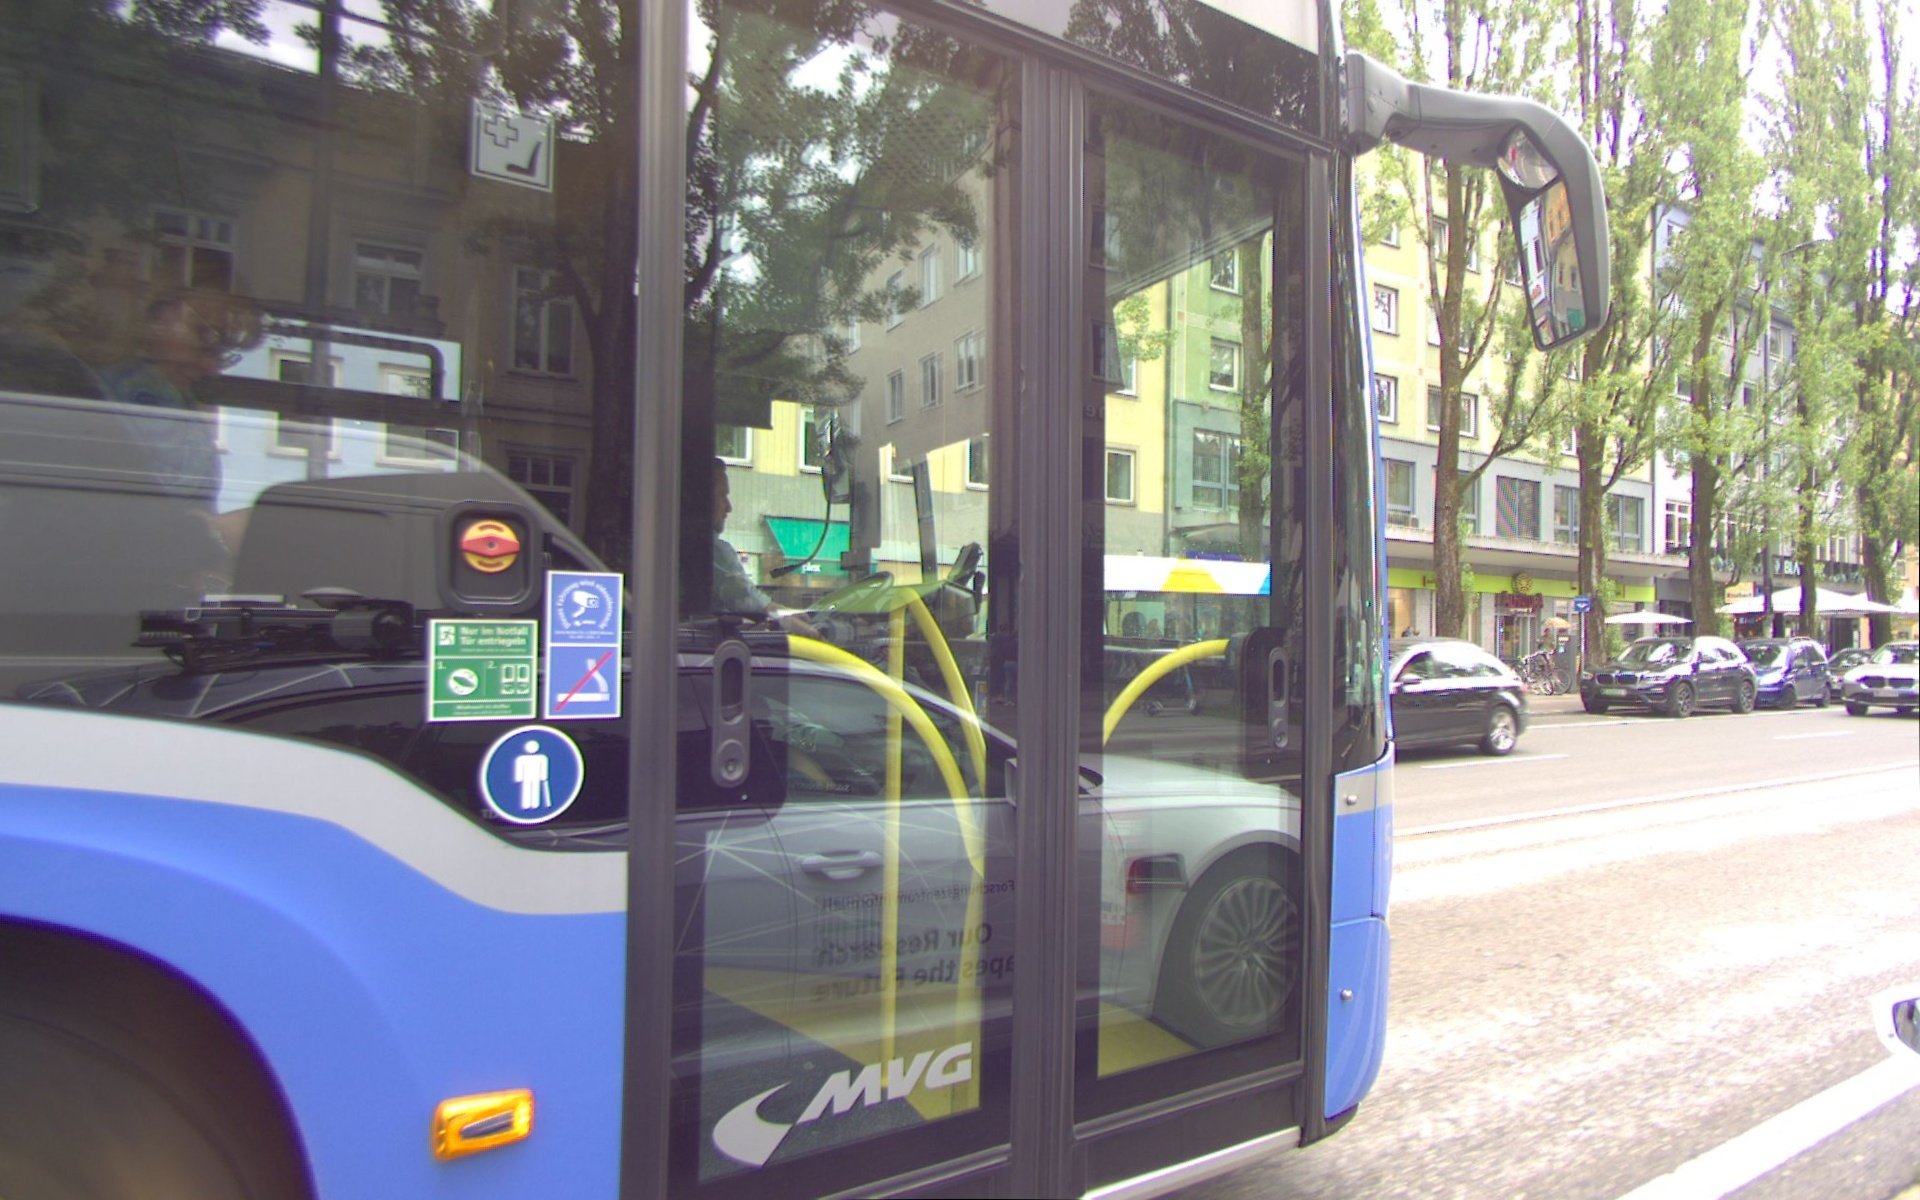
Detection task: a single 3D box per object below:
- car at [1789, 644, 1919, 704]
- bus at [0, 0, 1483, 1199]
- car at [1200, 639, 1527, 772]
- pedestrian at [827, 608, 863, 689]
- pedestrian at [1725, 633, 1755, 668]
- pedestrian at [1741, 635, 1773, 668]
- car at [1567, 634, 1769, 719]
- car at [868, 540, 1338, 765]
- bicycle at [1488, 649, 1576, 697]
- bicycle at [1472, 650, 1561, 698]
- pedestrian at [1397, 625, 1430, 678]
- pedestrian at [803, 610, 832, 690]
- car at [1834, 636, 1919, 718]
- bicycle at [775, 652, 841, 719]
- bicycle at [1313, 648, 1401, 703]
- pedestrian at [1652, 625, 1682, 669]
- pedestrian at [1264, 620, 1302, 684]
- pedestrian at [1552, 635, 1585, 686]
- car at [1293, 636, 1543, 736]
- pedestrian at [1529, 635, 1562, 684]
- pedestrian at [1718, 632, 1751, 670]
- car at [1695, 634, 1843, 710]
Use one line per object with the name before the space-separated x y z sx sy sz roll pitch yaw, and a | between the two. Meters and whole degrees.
car | 24.558 1.964 27.245 4.299 1.508 1.790 2 -3 -30
bus | -3.723 -0.201 0.930 9.936 2.988 2.676 2 -2 -31
car | 5.168 1.234 12.773 4.081 1.453 1.738 2 -3 -30
pedestrian | -2.378 1.006 20.879 0.713 1.657 0.699 1 -2 -6
pedestrian | 32.808 2.111 42.262 0.792 1.428 0.760 2 0 -34
pedestrian | 35.135 2.269 44.308 0.755 1.428 0.797 2 0 -18
car | 15.436 1.613 21.849 4.557 1.686 1.858 2 -3 -30
car | 2.214 0.734 14.206 6.831 2.601 1.996 2 -3 -30
bicycle | 15.510 1.963 27.273 0.712 1.110 1.933 1 1 -35
bicycle | 14.833 1.941 26.803 0.712 1.110 1.933 1 1 -35
pedestrian | 14.836 1.691 32.876 0.749 1.708 0.670 2 -3 -29
pedestrian | -3.002 1.043 21.159 0.553 1.657 0.699 1 -2 -5
car | 21.166 1.645 22.014 4.405 1.656 1.762 2 -3 -31
bicycle | -2.575 1.407 16.876 0.416 1.040 1.764 2 -2 -32
bicycle | 9.198 1.735 23.346 0.710 1.110 1.862 1 1 -26
pedestrian | 28.073 1.863 39.909 0.667 1.708 0.753 2 -3 -29
pedestrian | 8.860 1.421 27.538 0.667 1.708 0.753 2 -3 -29
pedestrian | 20.851 2.063 34.421 0.667 1.708 0.753 2 -3 -28
car | 8.151 1.457 17.802 4.362 1.572 1.858 2 -3 -30
pedestrian | 20.489 2.083 35.143 0.667 1.708 0.753 2 -3 -28
pedestrian | 30.103 1.975 39.042 0.792 1.428 0.760 2 0 -34
car | 19.887 1.730 24.661 3.880 1.743 1.700 2 -3 -33
